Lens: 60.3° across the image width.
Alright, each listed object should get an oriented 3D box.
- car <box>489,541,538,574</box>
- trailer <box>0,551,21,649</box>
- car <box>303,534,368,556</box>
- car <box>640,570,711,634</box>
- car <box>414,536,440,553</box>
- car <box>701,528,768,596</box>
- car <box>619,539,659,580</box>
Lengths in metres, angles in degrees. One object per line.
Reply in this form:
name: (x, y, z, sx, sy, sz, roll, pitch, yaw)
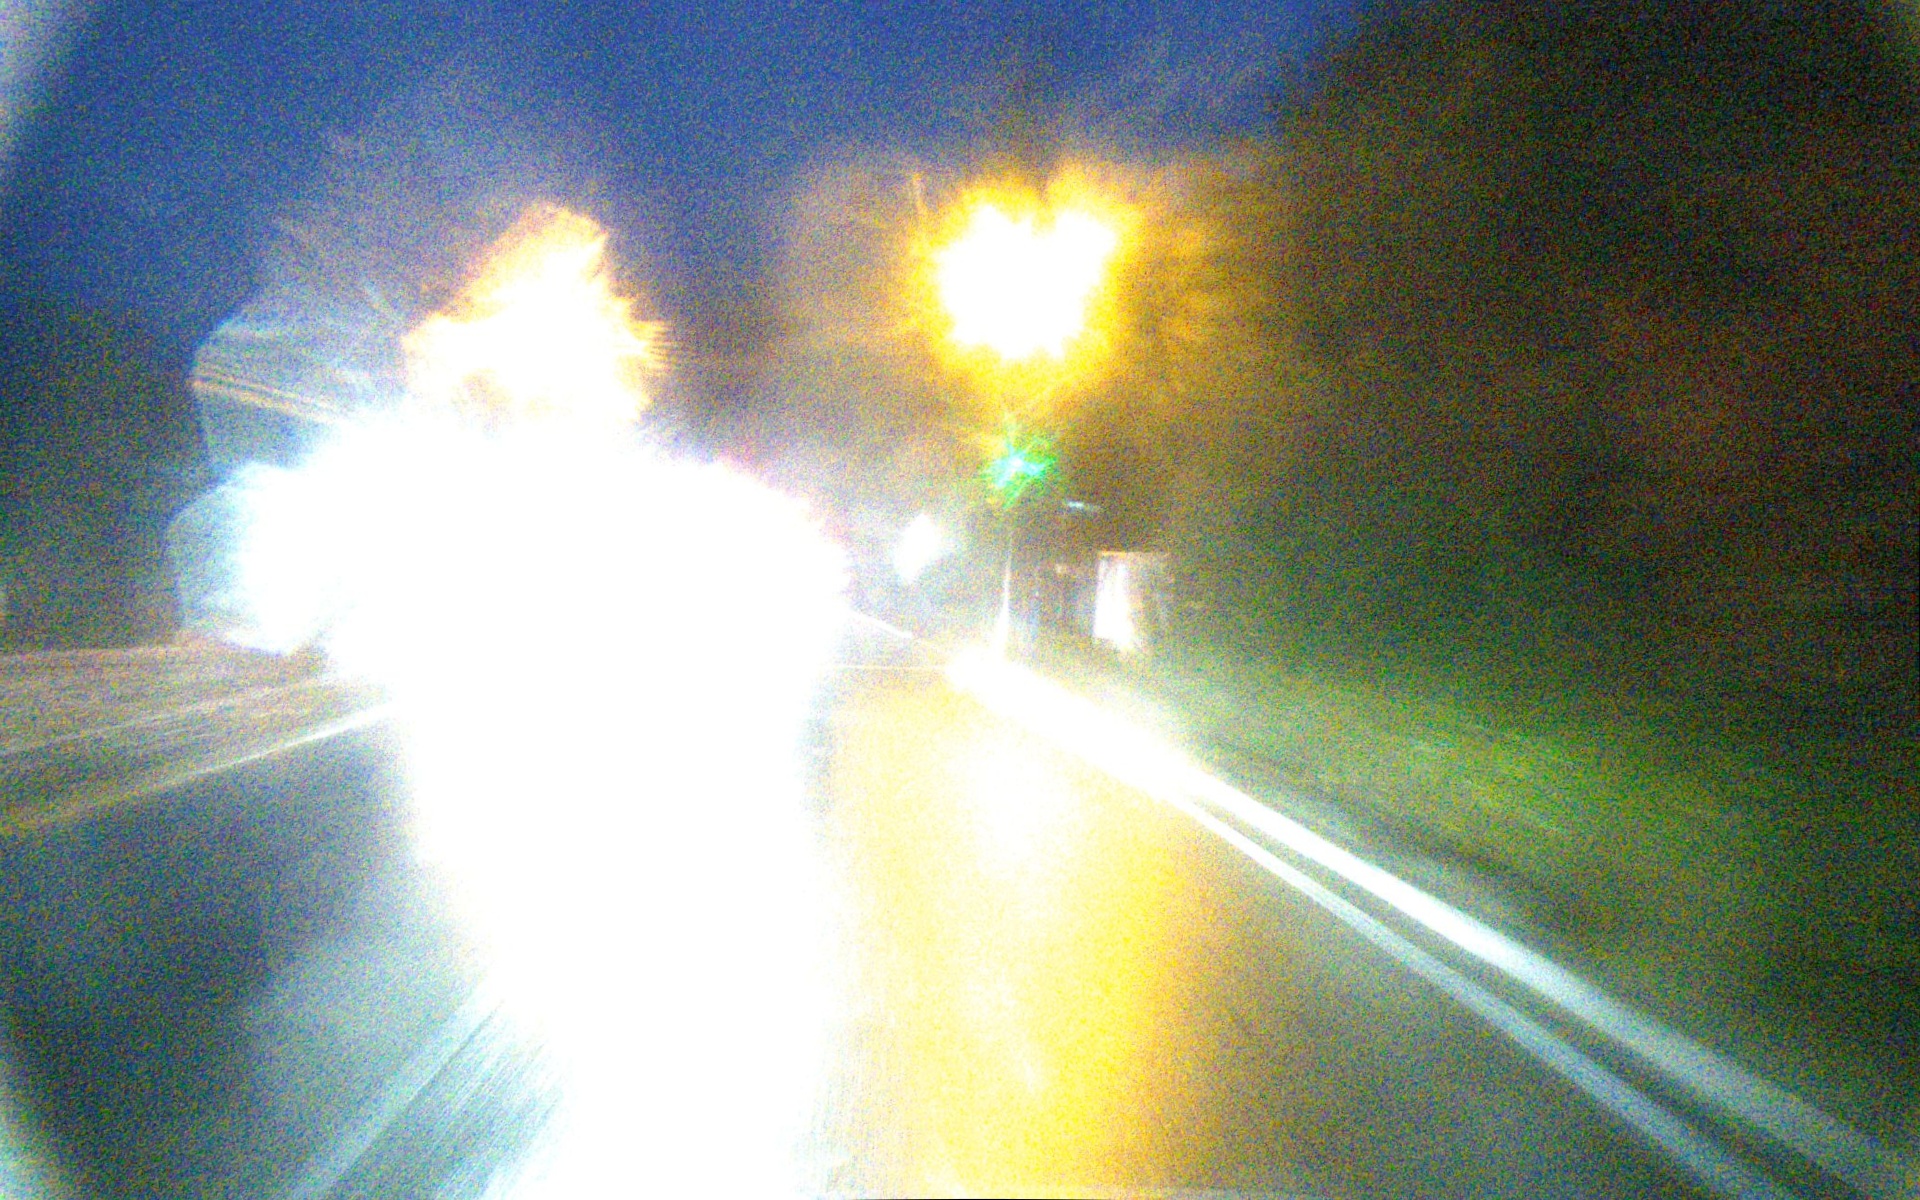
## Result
car: (-29.986, -2.844, 111.047, 1.972, 2.049, 4.797, 3, -1, -30)
trailer: (-17.261, 0.052, 27.493, 1.782, 1.706, 4.086, -1, 2, -14)
car: (-51.763, -4.540, 137.070, 4.858, 1.764, 1.981, 0, 3, -29)
car: (-7.289, 0.042, 42.585, 1.604, 1.537, 4.110, -1, 0, -7)
car: (-47.297, -4.941, 146.748, 1.616, 1.536, 4.060, -1, 2, -27)
car: (-9.077, -1.579, 66.154, 2.492, 2.541, 5.703, 1, 3, -10)
car: (-17.948, -2.246, 92.406, 1.959, 2.049, 3.986, 3, -1, -13)
